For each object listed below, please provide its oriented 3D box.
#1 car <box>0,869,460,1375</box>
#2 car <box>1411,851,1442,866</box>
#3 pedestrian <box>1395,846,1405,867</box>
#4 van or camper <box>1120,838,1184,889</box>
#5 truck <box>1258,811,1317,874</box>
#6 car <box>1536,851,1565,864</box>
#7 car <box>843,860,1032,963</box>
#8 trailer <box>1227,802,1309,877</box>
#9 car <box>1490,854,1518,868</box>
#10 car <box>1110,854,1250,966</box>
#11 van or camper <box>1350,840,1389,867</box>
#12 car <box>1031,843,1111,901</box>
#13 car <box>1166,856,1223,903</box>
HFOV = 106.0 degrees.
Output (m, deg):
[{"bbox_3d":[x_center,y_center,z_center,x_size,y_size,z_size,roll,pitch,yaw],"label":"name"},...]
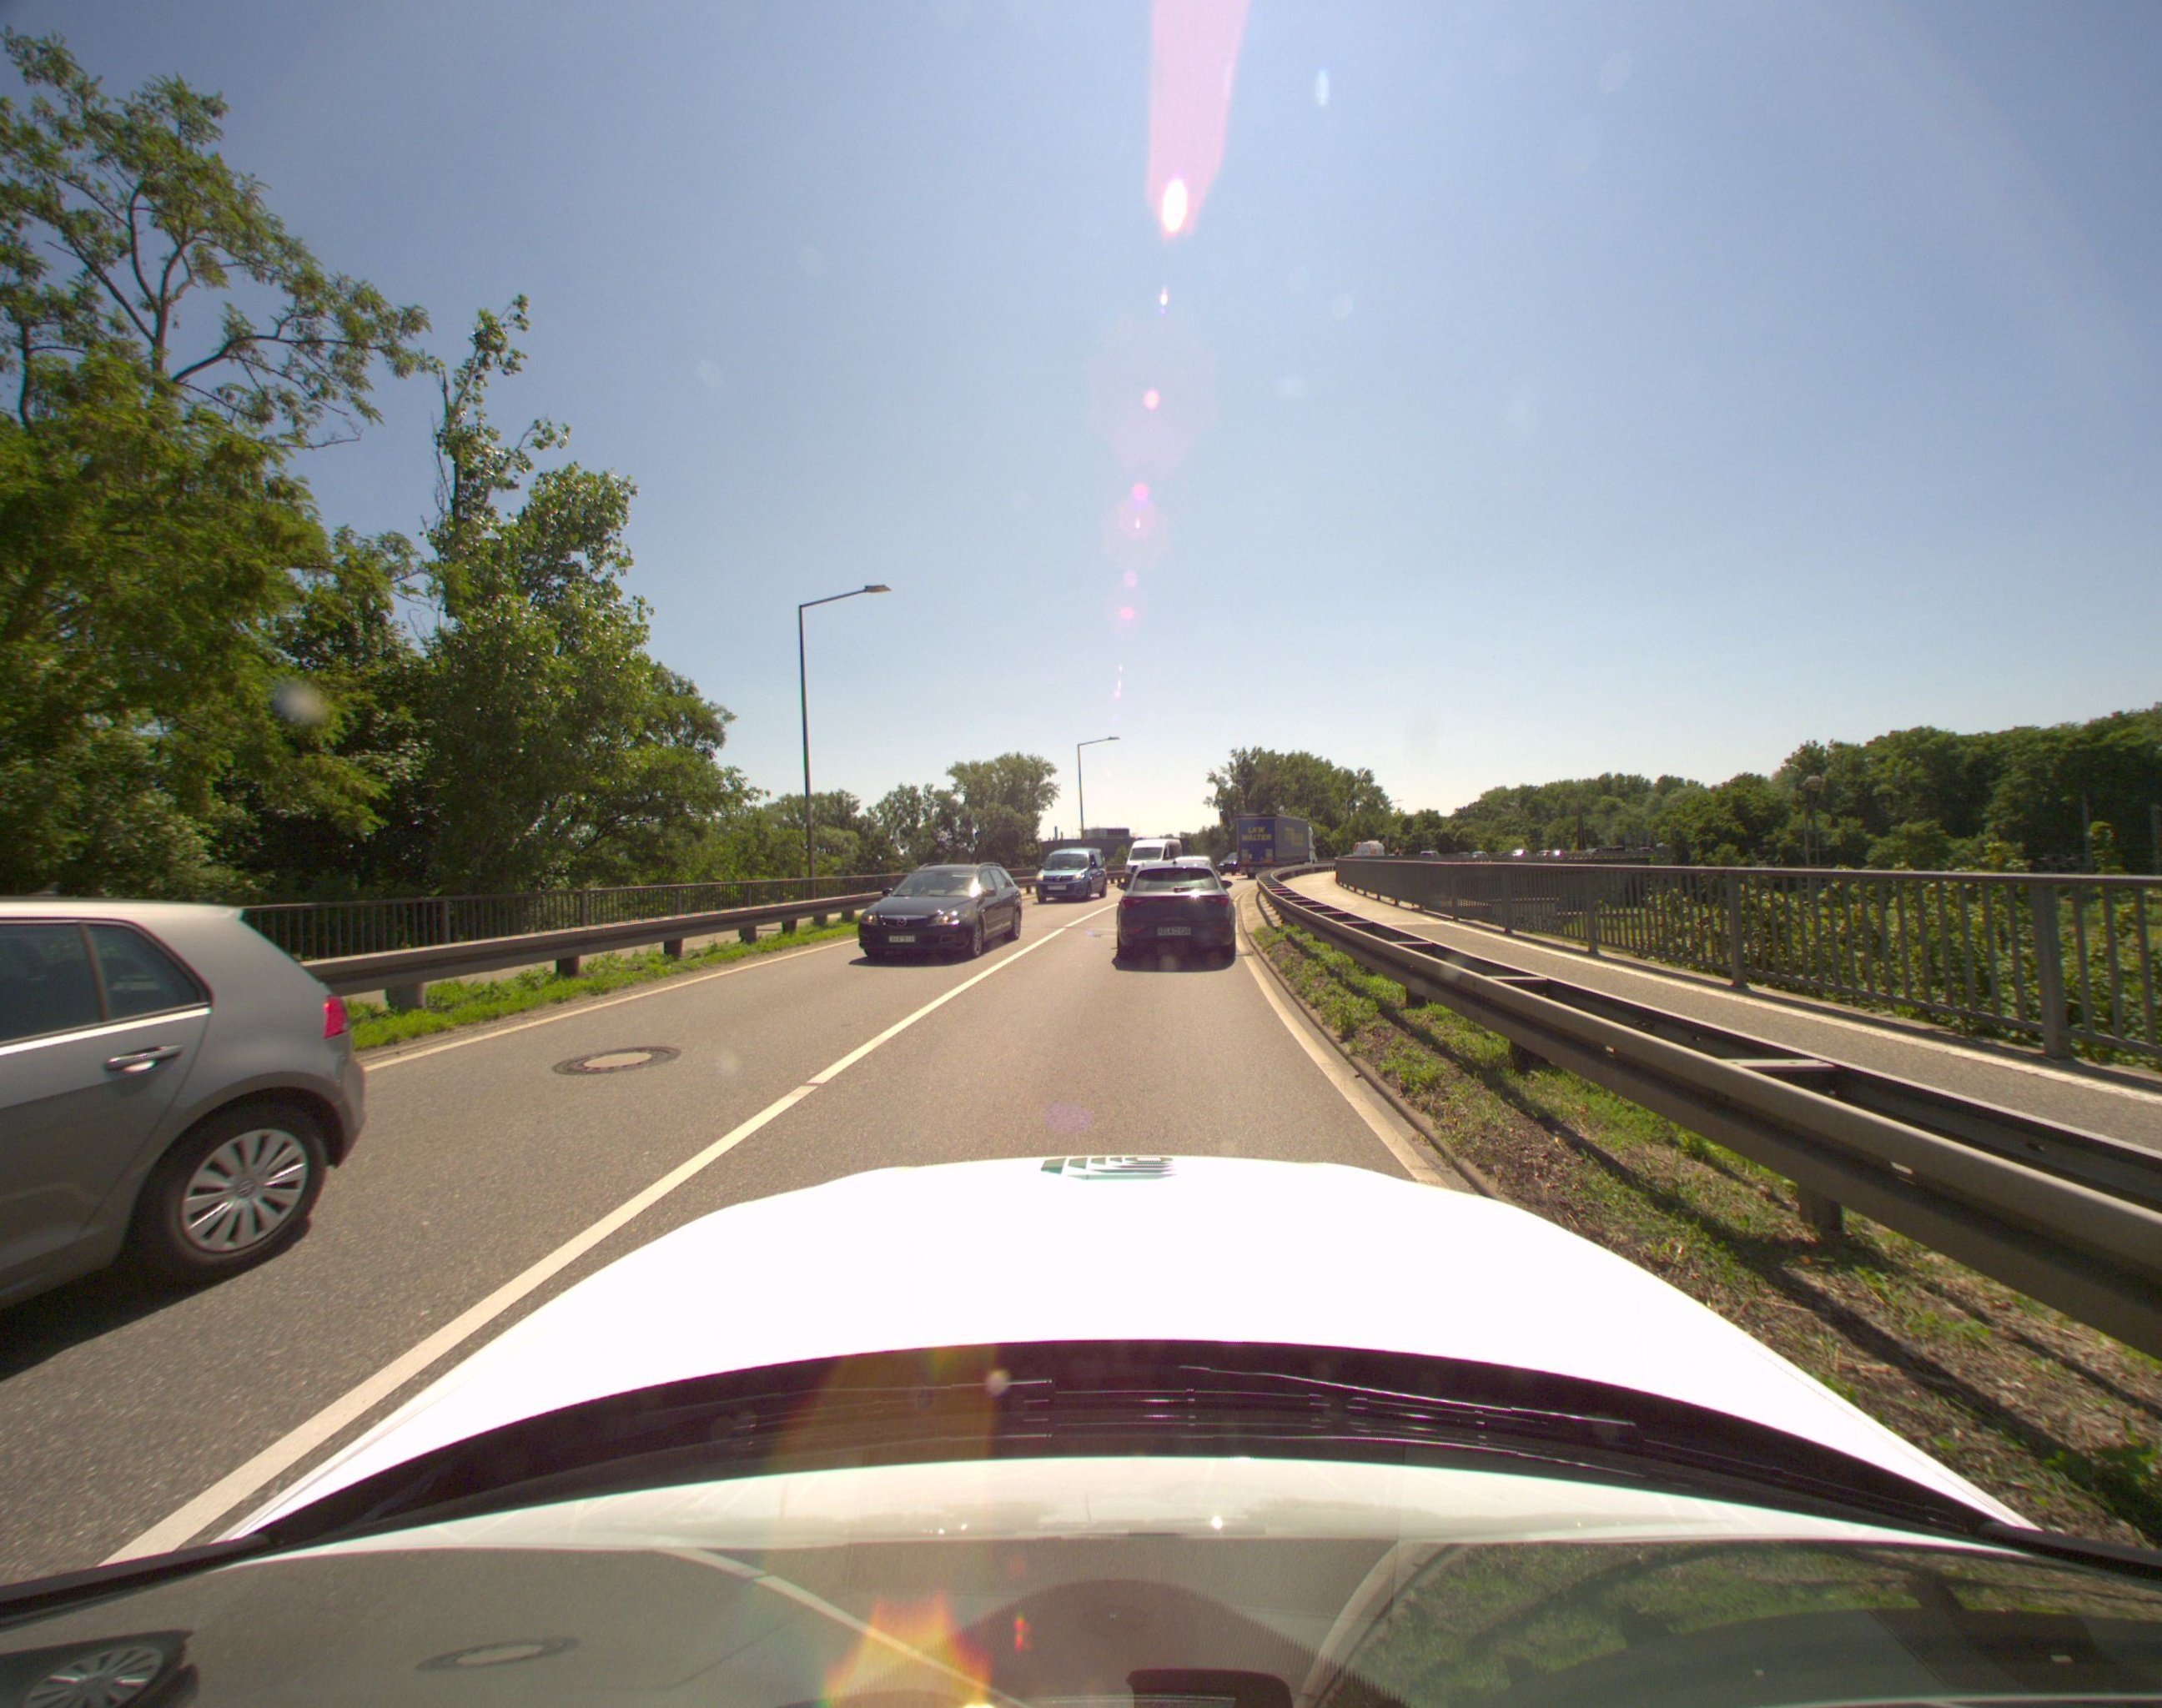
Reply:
[{"bbox_3d":[-4.004,0.804,1.949,1.709,1.427,4.111,-1,0,3],"label":"car"},{"bbox_3d":[41.675,0.550,98.163,4.022,1.850,1.872,1,-1,-42],"label":"car"},{"bbox_3d":[30.155,0.234,77.038,0.729,1.967,0.739,-1,-1,35],"label":"pedestrian"},{"bbox_3d":[3.903,0.428,43.755,2.031,2.537,5.912,0,1,19],"label":"van or camper"},{"bbox_3d":[16.053,-0.793,62.853,3.141,4.585,7.438,-1,-1,24],"label":"truck"},{"bbox_3d":[68.856,0.489,119.422,4.012,1.850,1.877,0,-1,-30],"label":"car"},{"bbox_3d":[-2.201,0.841,13.903,1.746,1.442,4.580,-1,0,9],"label":"car"},{"bbox_3d":[13.238,-0.847,56.570,3.106,4.614,13.020,0,0,24],"label":"trailer"},{"bbox_3d":[58.498,0.997,112.620,4.016,1.850,1.874,0,-1,-35],"label":"car"},{"bbox_3d":[1.409,0.764,12.932,1.839,1.499,3.759,-1,0,1],"label":"car"},{"bbox_3d":[30.073,-0.053,84.816,2.181,2.711,5.963,-1,0,36],"label":"van or camper"},{"bbox_3d":[-0.243,0.607,28.292,1.744,1.855,4.291,-1,0,14],"label":"car"},{"bbox_3d":[3.843,0.805,27.139,1.582,1.461,3.557,0,0,12],"label":"car"}]
